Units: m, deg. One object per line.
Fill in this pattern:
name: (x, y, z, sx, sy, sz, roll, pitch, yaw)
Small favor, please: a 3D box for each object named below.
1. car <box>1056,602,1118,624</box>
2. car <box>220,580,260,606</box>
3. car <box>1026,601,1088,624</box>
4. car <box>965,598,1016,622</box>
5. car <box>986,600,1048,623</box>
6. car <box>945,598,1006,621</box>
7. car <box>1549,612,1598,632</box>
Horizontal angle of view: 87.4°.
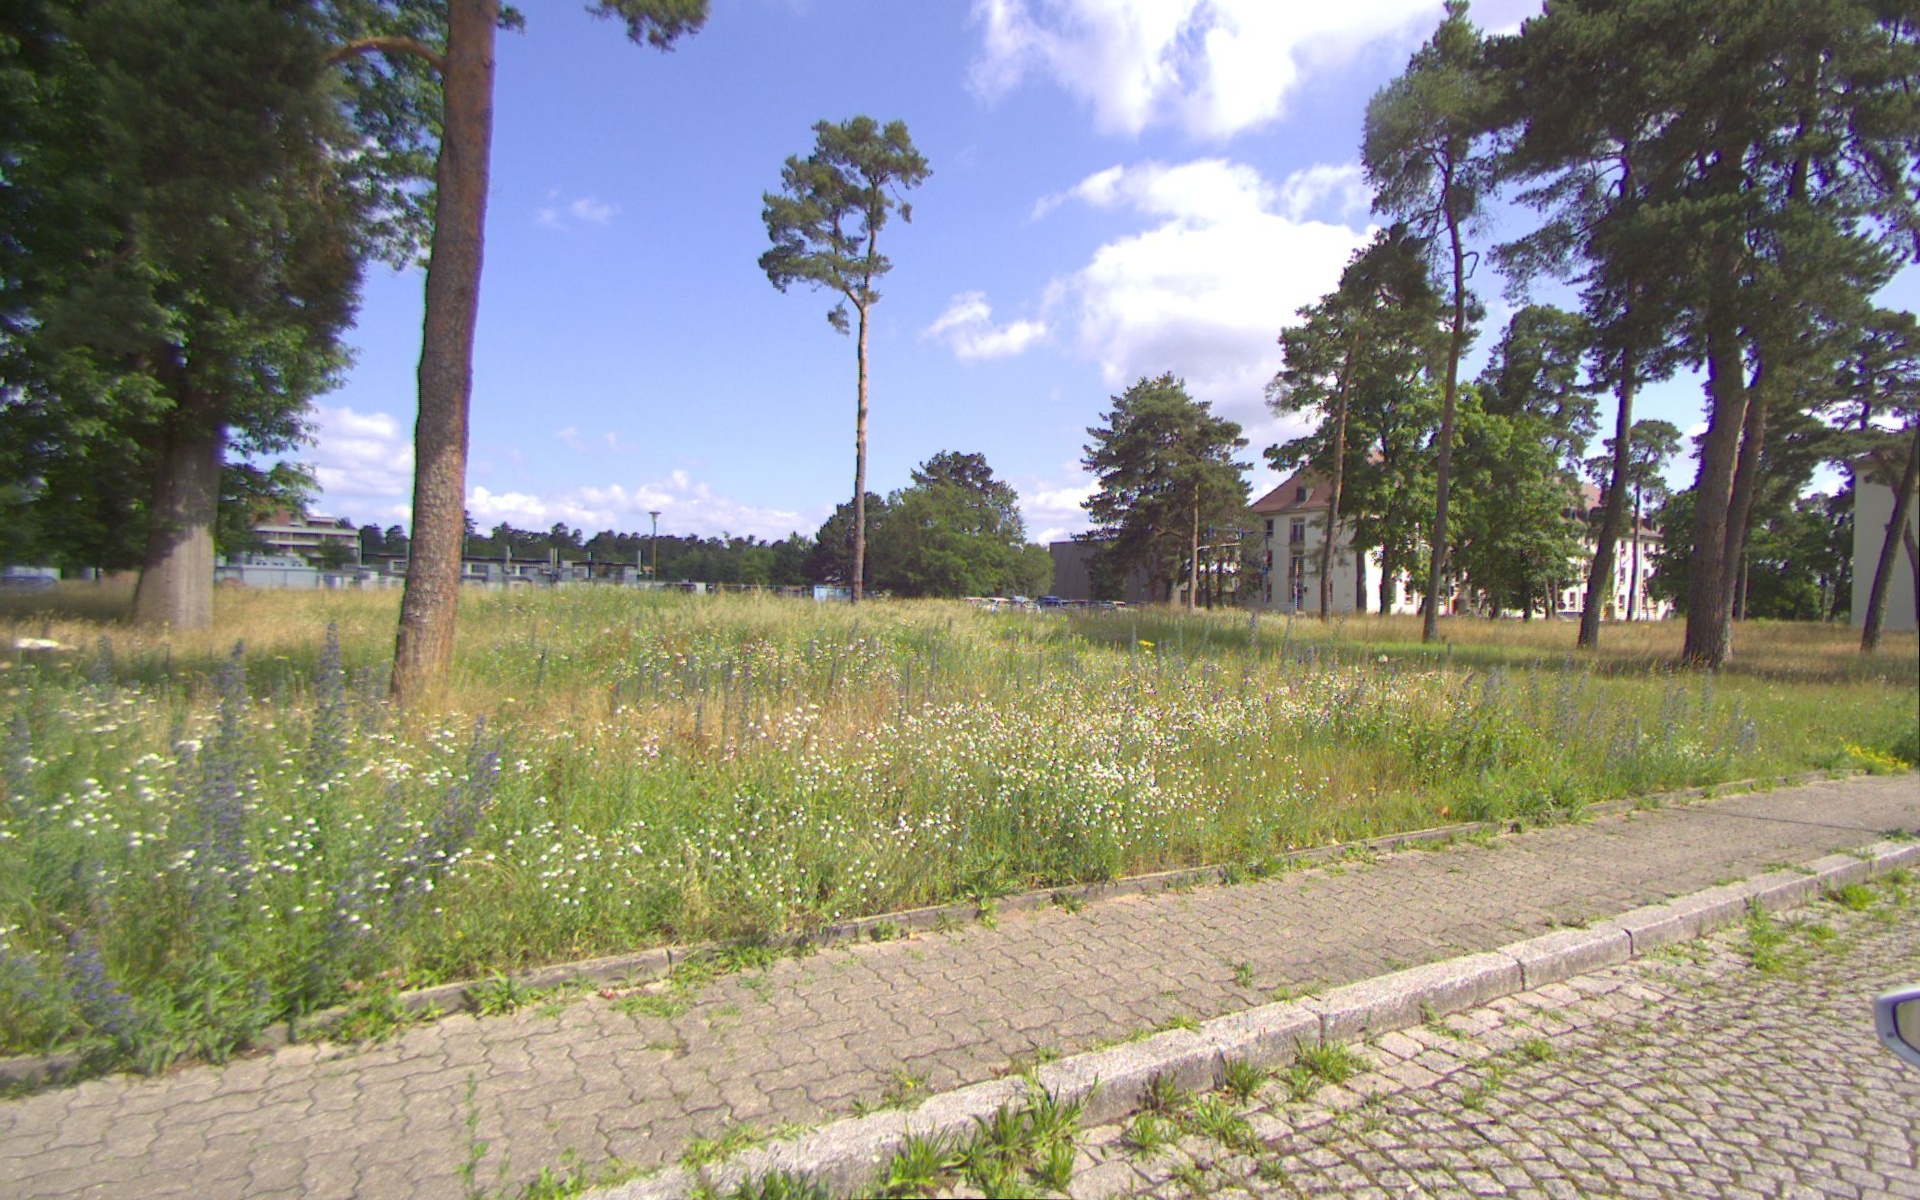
car: (8.141, 0.850, 64.764, 1.879, 1.327, 4.044, 2, -1, -31)
car: (-49.506, -0.479, 69.109, 1.879, 1.725, 4.044, 2, -1, -31)
car: (6.089, 0.786, 63.618, 1.879, 1.337, 4.044, 2, -1, -31)
car: (2.221, 0.710, 74.374, 1.879, 1.725, 4.044, 2, -1, -31)
car: (3.529, 0.703, 62.779, 1.879, 1.356, 4.044, 2, -1, -31)
car: (0.910, 0.563, 61.129, 1.879, 1.367, 4.036, 2, -1, -31)
car: (63.551, 2.239, 104.145, 1.692, 2.018, 4.041, 1, -1, -29)
